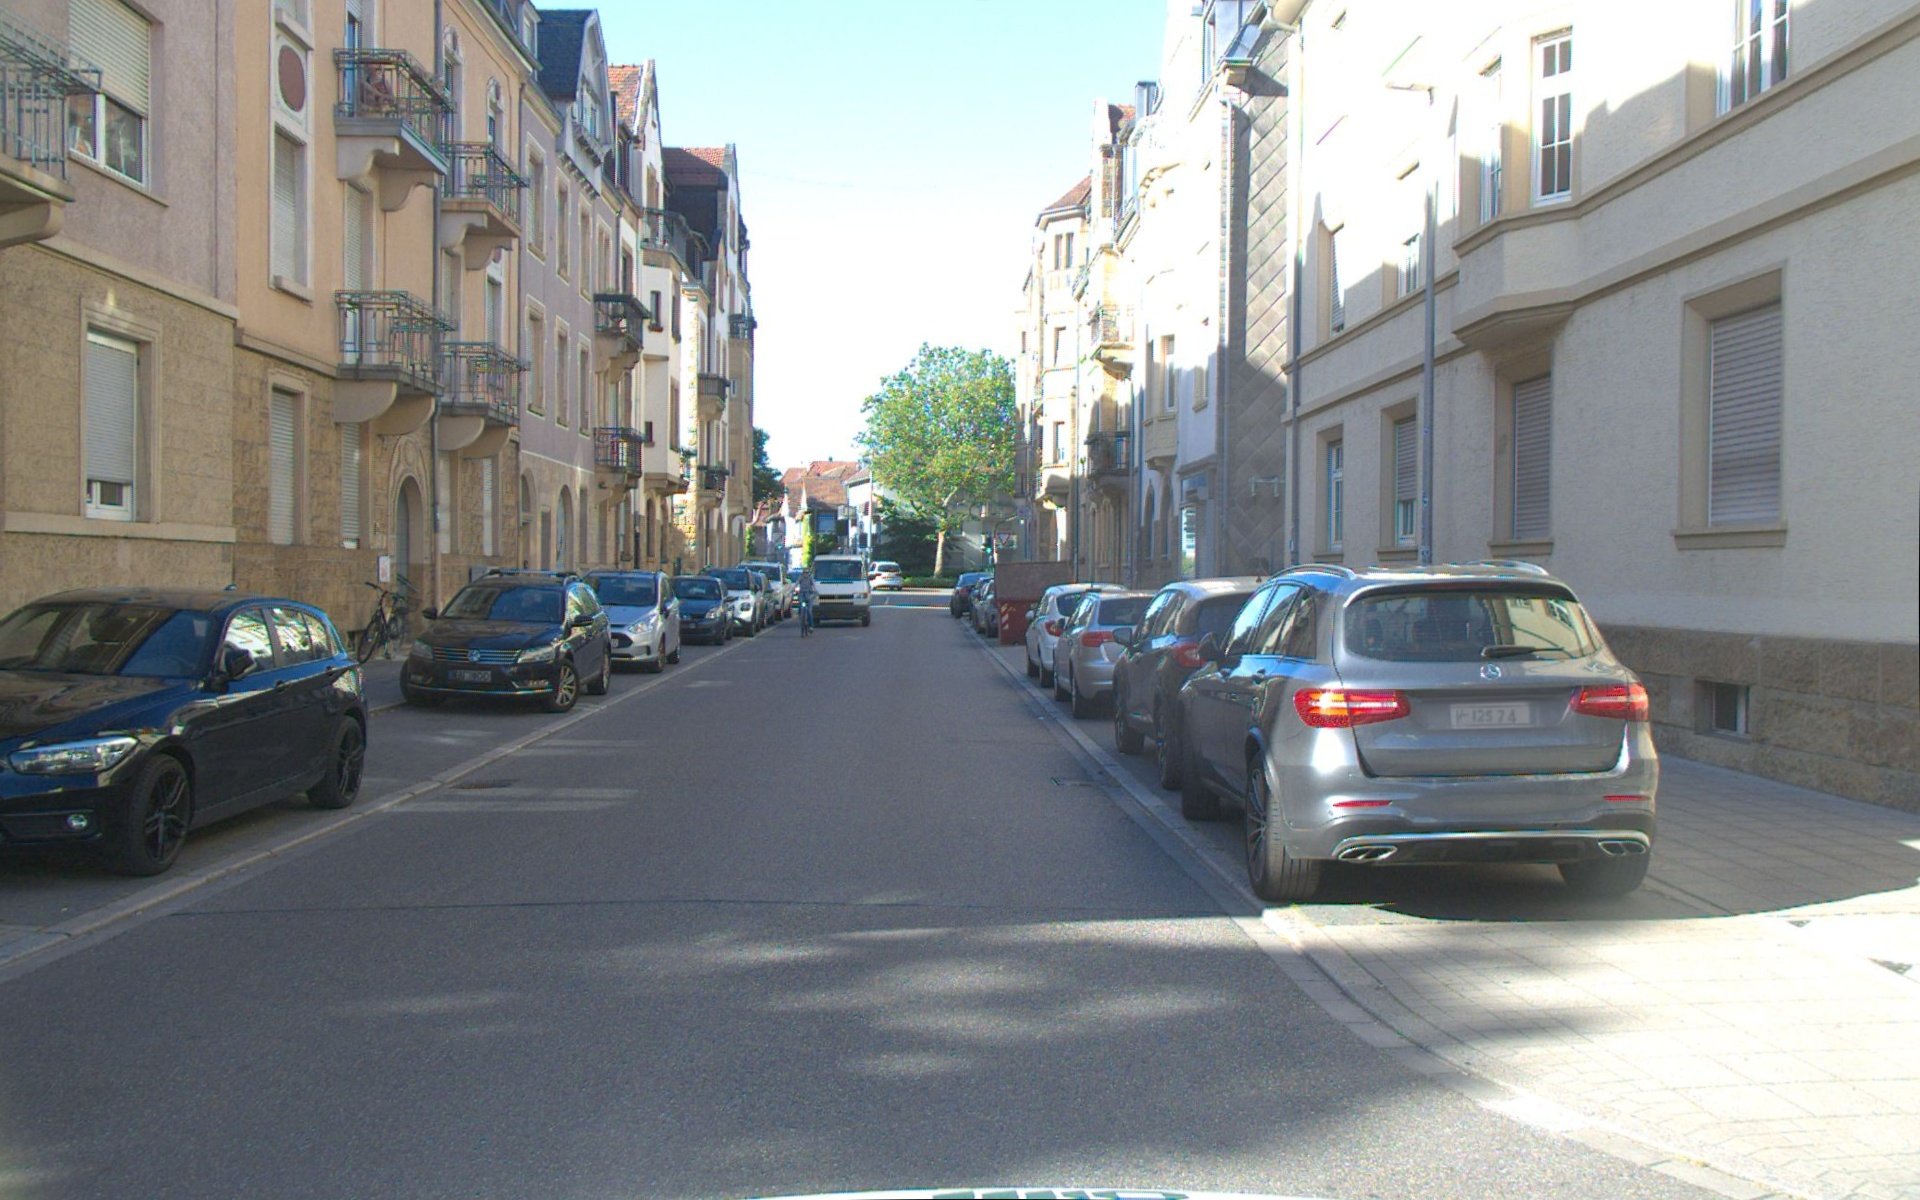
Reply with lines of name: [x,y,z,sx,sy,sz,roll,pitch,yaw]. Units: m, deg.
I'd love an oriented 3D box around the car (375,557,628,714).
car: [-5.404,0.361,20.130,1.964,1.609,4.485,3,0,-3]

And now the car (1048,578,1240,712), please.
car: [2.150,0.505,20.344,1.801,1.456,4.027,-1,0,-1]

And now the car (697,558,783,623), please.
car: [-6.135,-0.270,46.638,1.964,1.647,4.485,3,0,-3]

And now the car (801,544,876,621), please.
car: [-3.450,-0.495,47.749,1.964,2.034,4.485,3,0,-3]

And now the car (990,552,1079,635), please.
car: [1.674,-0.120,38.516,1.801,1.818,4.027,0,-1,-1]

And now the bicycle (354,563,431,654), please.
bicycle: [-8.666,0.108,25.313,0.530,1.324,1.866,2,1,-1]

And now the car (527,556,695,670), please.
car: [-5.664,0.179,27.391,1.964,1.647,4.485,3,0,-3]

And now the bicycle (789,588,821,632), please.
bicycle: [-3.796,0.229,40.605,0.649,1.037,2.065,-1,1,-3]

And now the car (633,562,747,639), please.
car: [-5.879,-0.017,36.484,1.939,1.508,4.326,3,0,-3]

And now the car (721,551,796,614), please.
car: [-6.324,-0.555,52.269,1.964,1.819,4.485,3,0,-3]

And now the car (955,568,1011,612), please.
car: [0.760,-0.328,57.315,1.801,1.456,4.027,-1,-1,-1]

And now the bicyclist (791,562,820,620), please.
bicyclist: [-3.792,-0.227,40.615,0.649,1.409,0.753,-1,0,-3]

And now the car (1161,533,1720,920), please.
car: [2.404,0.565,9.661,1.874,1.673,4.773,-1,0,0]

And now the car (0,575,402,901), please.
car: [-4.875,0.618,9.798,1.645,1.451,4.273,3,0,0]

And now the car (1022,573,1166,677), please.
car: [1.999,0.365,25.731,1.801,1.456,4.027,-1,0,-1]

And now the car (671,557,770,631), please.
car: [-5.884,-0.161,41.140,1.964,1.647,4.485,3,0,-3]

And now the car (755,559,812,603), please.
car: [-7.135,-0.770,67.227,1.964,1.633,4.485,3,0,-3]

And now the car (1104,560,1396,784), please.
car: [2.330,0.540,14.282,1.710,1.636,4.027,-1,0,-1]

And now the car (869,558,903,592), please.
car: [-4.501,-1.525,101.626,1.963,1.947,4.485,3,0,-2]

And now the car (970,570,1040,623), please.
car: [1.265,-0.084,48.198,1.801,1.456,4.027,-1,-1,-1]

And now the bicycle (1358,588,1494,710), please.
bicycle: [5.345,0.517,19.157,0.746,1.268,2.591,1,1,-2]
